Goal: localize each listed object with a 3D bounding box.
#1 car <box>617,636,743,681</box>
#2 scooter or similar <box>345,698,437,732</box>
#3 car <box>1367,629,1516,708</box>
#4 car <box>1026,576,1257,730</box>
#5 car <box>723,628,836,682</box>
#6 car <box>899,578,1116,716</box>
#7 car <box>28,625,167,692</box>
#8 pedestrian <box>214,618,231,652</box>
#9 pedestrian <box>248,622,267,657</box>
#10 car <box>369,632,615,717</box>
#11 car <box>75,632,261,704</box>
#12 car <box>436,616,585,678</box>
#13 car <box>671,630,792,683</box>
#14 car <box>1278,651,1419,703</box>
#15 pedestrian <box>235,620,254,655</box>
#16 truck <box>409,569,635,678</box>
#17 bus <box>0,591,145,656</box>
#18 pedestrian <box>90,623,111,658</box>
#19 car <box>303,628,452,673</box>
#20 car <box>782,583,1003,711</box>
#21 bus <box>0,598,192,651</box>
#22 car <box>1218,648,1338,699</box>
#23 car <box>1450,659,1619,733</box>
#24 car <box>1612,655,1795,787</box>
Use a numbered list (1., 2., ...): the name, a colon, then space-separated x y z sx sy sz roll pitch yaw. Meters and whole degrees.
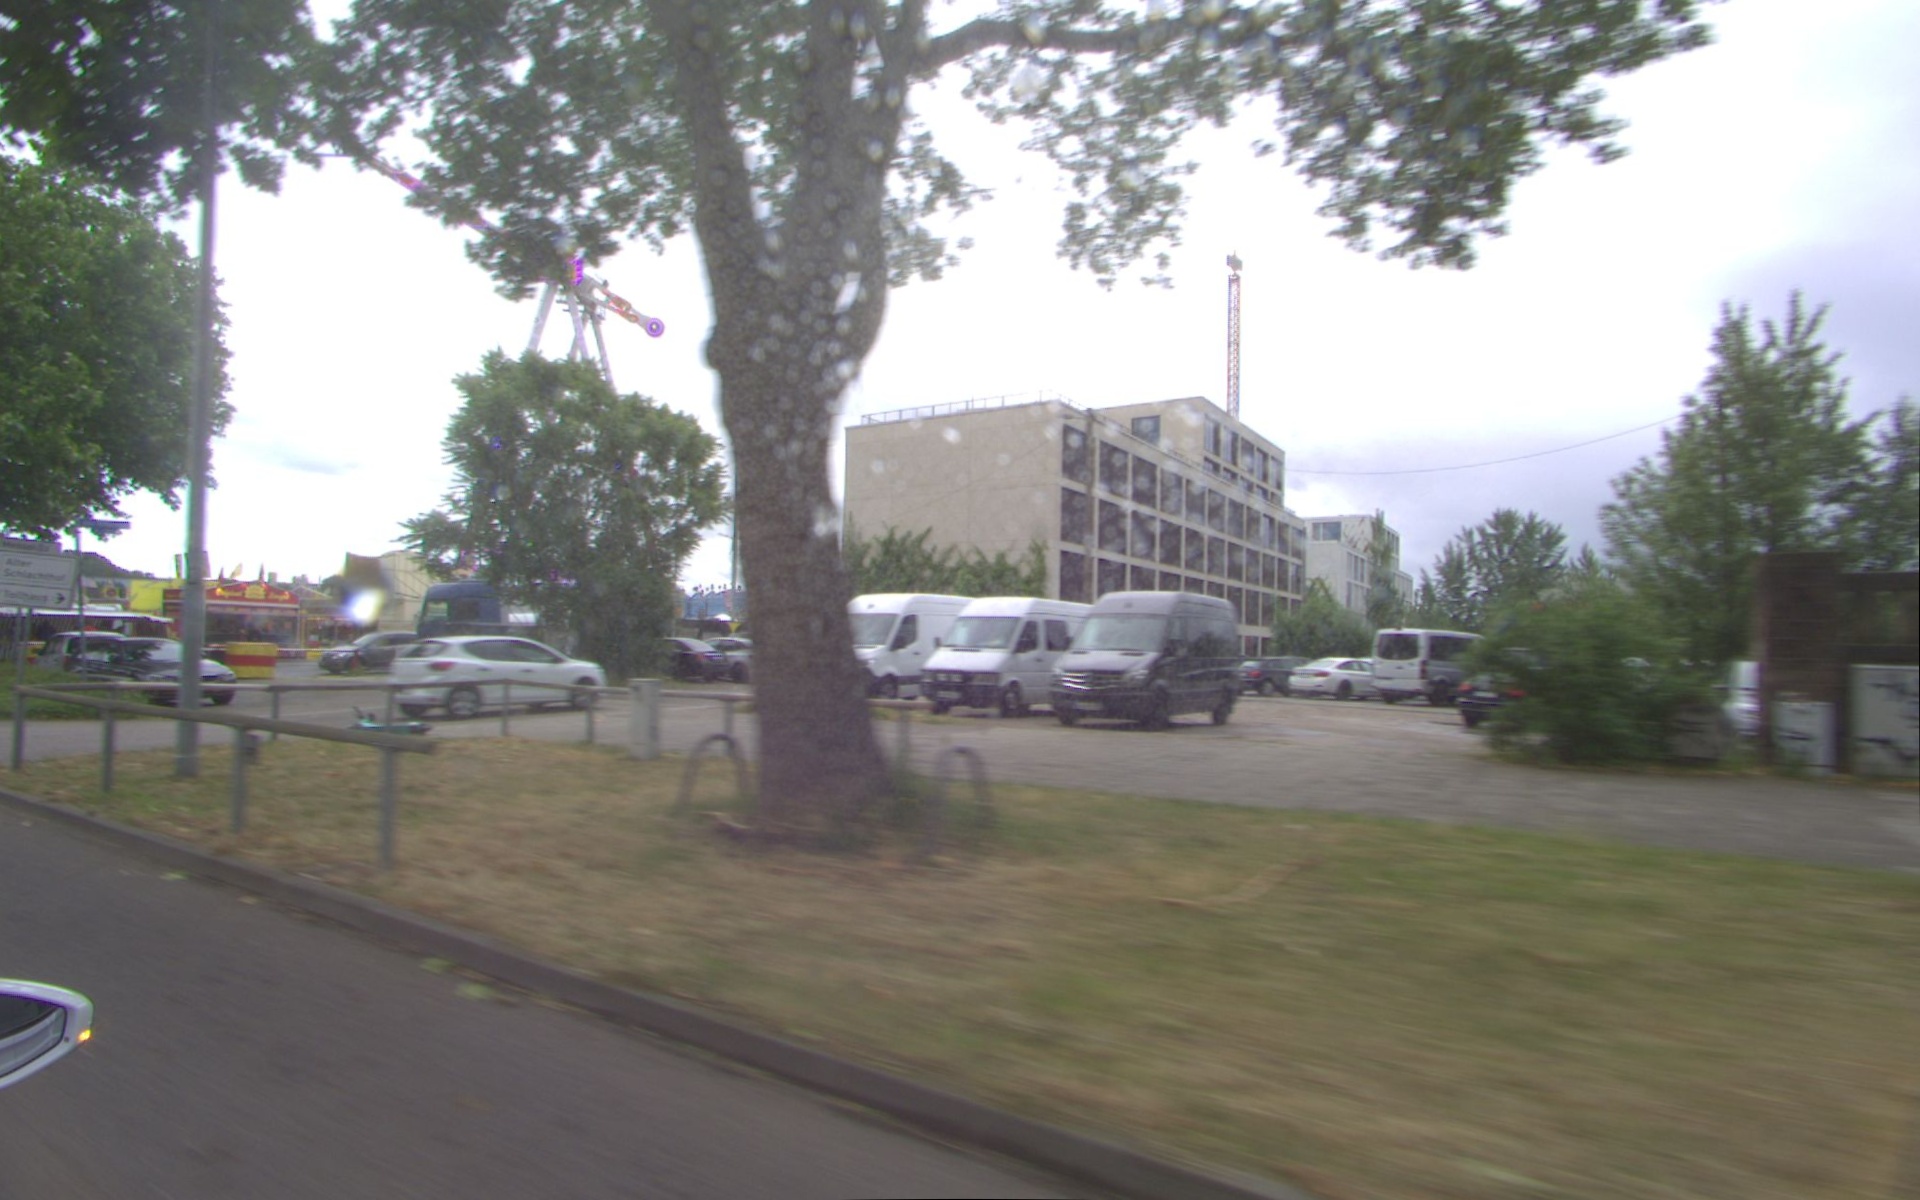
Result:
1. car: -9.469 1.973 33.791 3.942 1.365 1.884 -1 -5 32
2. scooter or similar: -8.572 1.713 15.068 1.164 0.353 1.323 1 -2 -32
3. car: 15.466 2.188 32.150 4.653 2.373 1.991 2 -2 -28
4. car: 3.749 1.117 19.553 2.142 2.552 5.775 0 -4 35
5. car: -6.828 2.057 37.861 3.942 1.903 1.883 0 -2 32
6. car: 1.232 1.120 21.579 2.011 2.565 5.780 0 -5 33
7. car: -22.494 1.495 26.074 3.947 1.614 1.858 -1 -3 36
8. pedestrian: -37.298 1.768 50.649 0.516 1.708 0.492 0 -2 31
9. pedestrian: -34.743 1.968 49.504 0.485 1.708 0.523 0 -2 17
10. car: -8.999 1.402 19.577 1.864 1.471 3.982 -1 -3 31
11. car: -17.575 1.462 22.211 3.939 1.448 1.862 -1 -3 29
12. car: -16.053 1.654 36.011 1.971 2.040 4.566 1 -1 32
13. car: -8.147 1.988 35.652 3.941 1.665 1.884 1 -2 32
14. car: 13.349 2.614 34.357 4.653 1.670 1.991 2 -3 -28
15. pedestrian: -34.651 1.810 48.513 0.485 1.708 0.523 0 -2 17
16. truck: -17.125 1.037 39.875 2.562 3.870 8.180 0 -3 32
17. bus: -44.564 1.124 47.295 1.971 2.996 9.269 0 -3 31
18. pedestrian: -36.378 1.715 42.372 0.516 1.481 0.492 0 -2 31
19. car: -22.343 1.941 38.602 1.971 1.595 4.567 -1 -3 32
20. car: -1.362 1.111 23.517 2.070 2.587 6.016 -1 -3 31
21. bus: -41.449 1.194 46.368 1.971 2.255 9.269 -1 -3 31
22. car: 11.464 2.641 36.088 3.942 1.727 1.991 2 -3 -28
23. car: 13.389 2.158 23.295 3.951 1.538 1.987 3 -3 -36
24. car: 10.558 1.633 14.477 1.725 1.598 3.764 0 -4 31
